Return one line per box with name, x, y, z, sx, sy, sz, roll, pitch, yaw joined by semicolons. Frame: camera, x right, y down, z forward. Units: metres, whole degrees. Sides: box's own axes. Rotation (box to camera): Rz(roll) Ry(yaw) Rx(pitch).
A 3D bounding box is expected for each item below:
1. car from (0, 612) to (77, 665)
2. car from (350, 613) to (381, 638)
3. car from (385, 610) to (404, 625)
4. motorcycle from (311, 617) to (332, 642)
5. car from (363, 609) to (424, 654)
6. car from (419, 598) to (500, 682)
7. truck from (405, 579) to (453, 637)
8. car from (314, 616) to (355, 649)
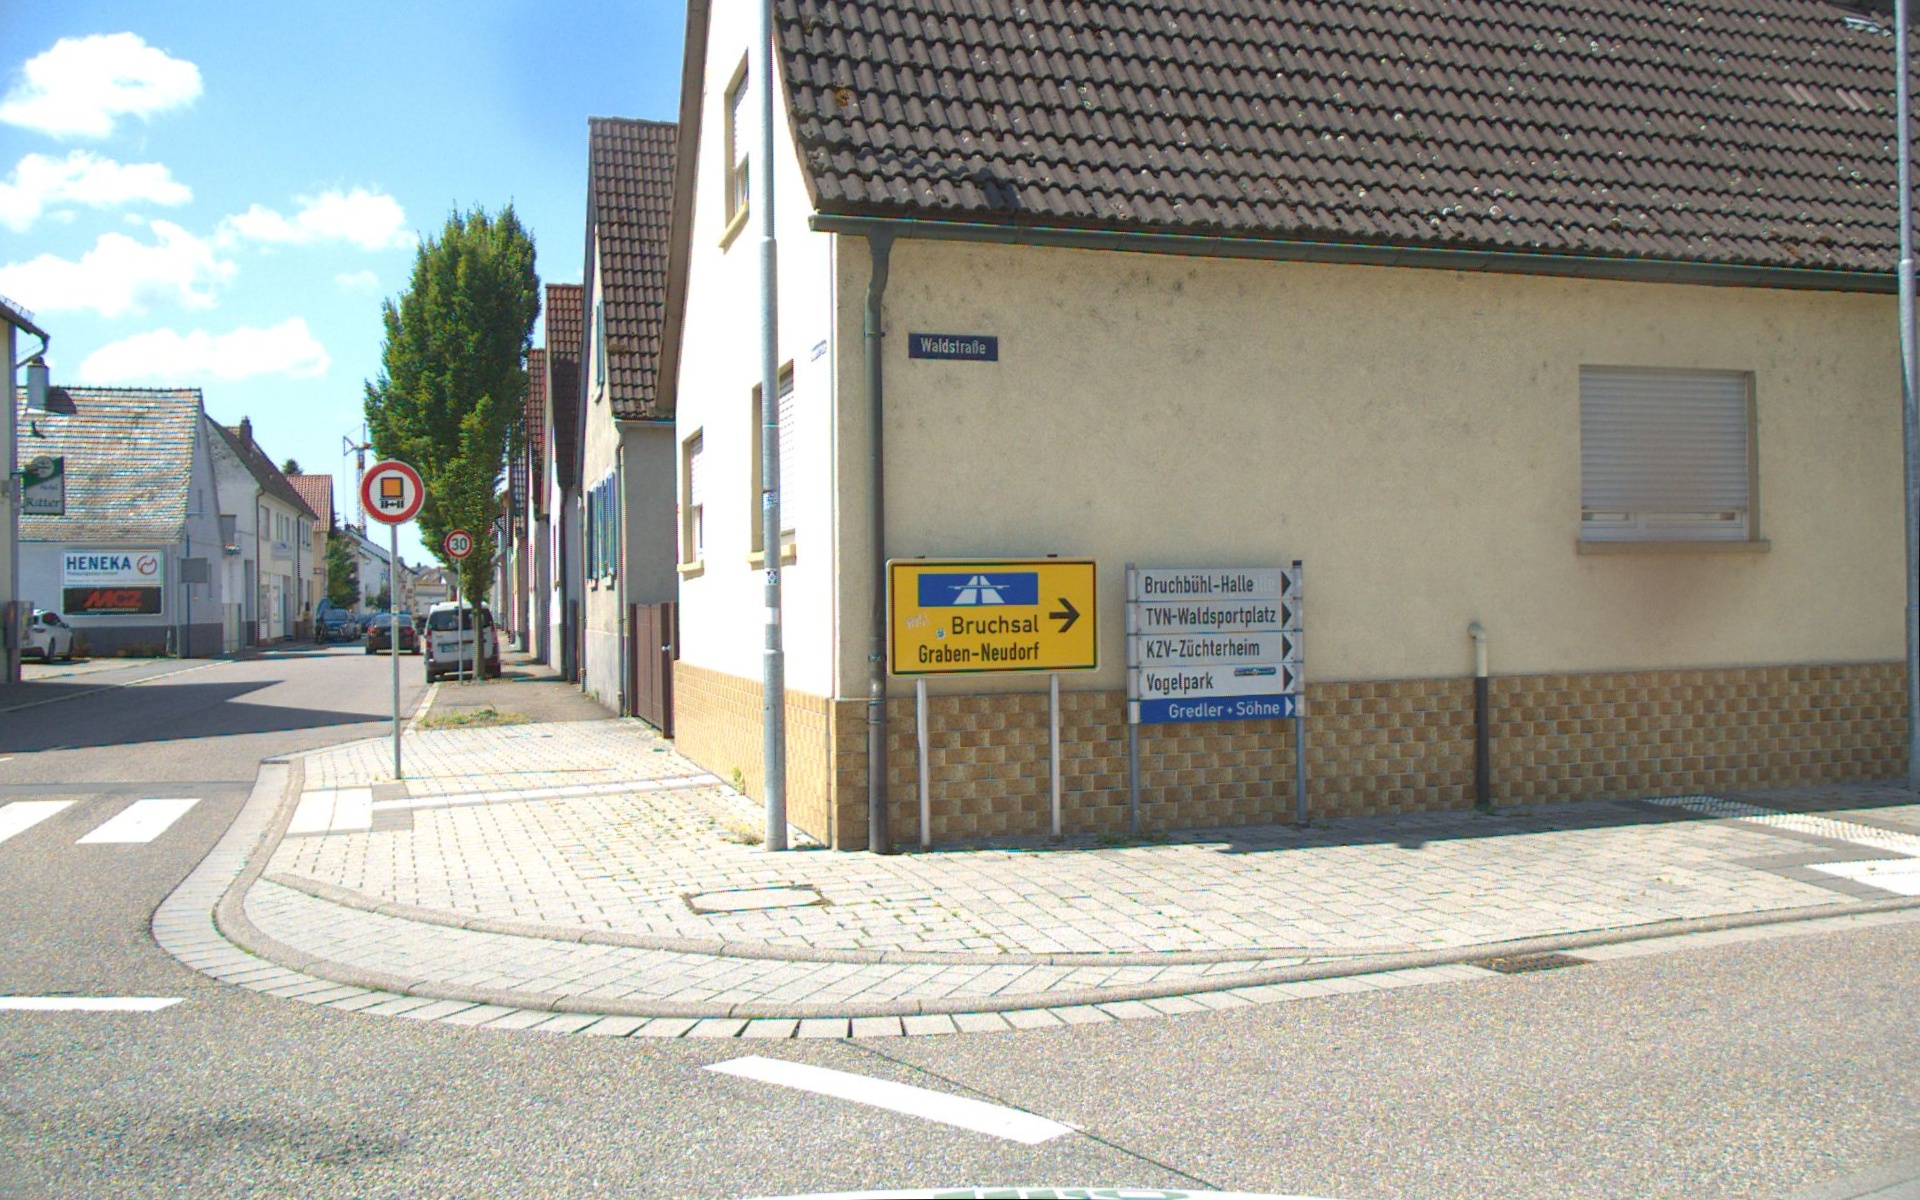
car;-28.846;1.167;51.487;1.693;1.583;4.177;1;-1;-18
car;-39.651;1.671;110.314;1.781;1.617;3.980;0;0;-17
car;-60.515;1.883;177.119;1.781;1.617;3.981;0;0;-17
motorcycle;-31.890;1.474;82.599;0.833;1.190;2.456;1;-1;-18
car;-21.066;1.154;61.668;1.871;1.591;4.457;0;0;-16
car;-11.997;0.910;39.503;1.693;1.821;4.122;-2;0;-18
truck;-41.329;0.677;128.985;3.093;4.325;9.262;1;-1;-15
car;-32.655;1.681;86.412;1.781;1.617;3.980;0;0;-17
